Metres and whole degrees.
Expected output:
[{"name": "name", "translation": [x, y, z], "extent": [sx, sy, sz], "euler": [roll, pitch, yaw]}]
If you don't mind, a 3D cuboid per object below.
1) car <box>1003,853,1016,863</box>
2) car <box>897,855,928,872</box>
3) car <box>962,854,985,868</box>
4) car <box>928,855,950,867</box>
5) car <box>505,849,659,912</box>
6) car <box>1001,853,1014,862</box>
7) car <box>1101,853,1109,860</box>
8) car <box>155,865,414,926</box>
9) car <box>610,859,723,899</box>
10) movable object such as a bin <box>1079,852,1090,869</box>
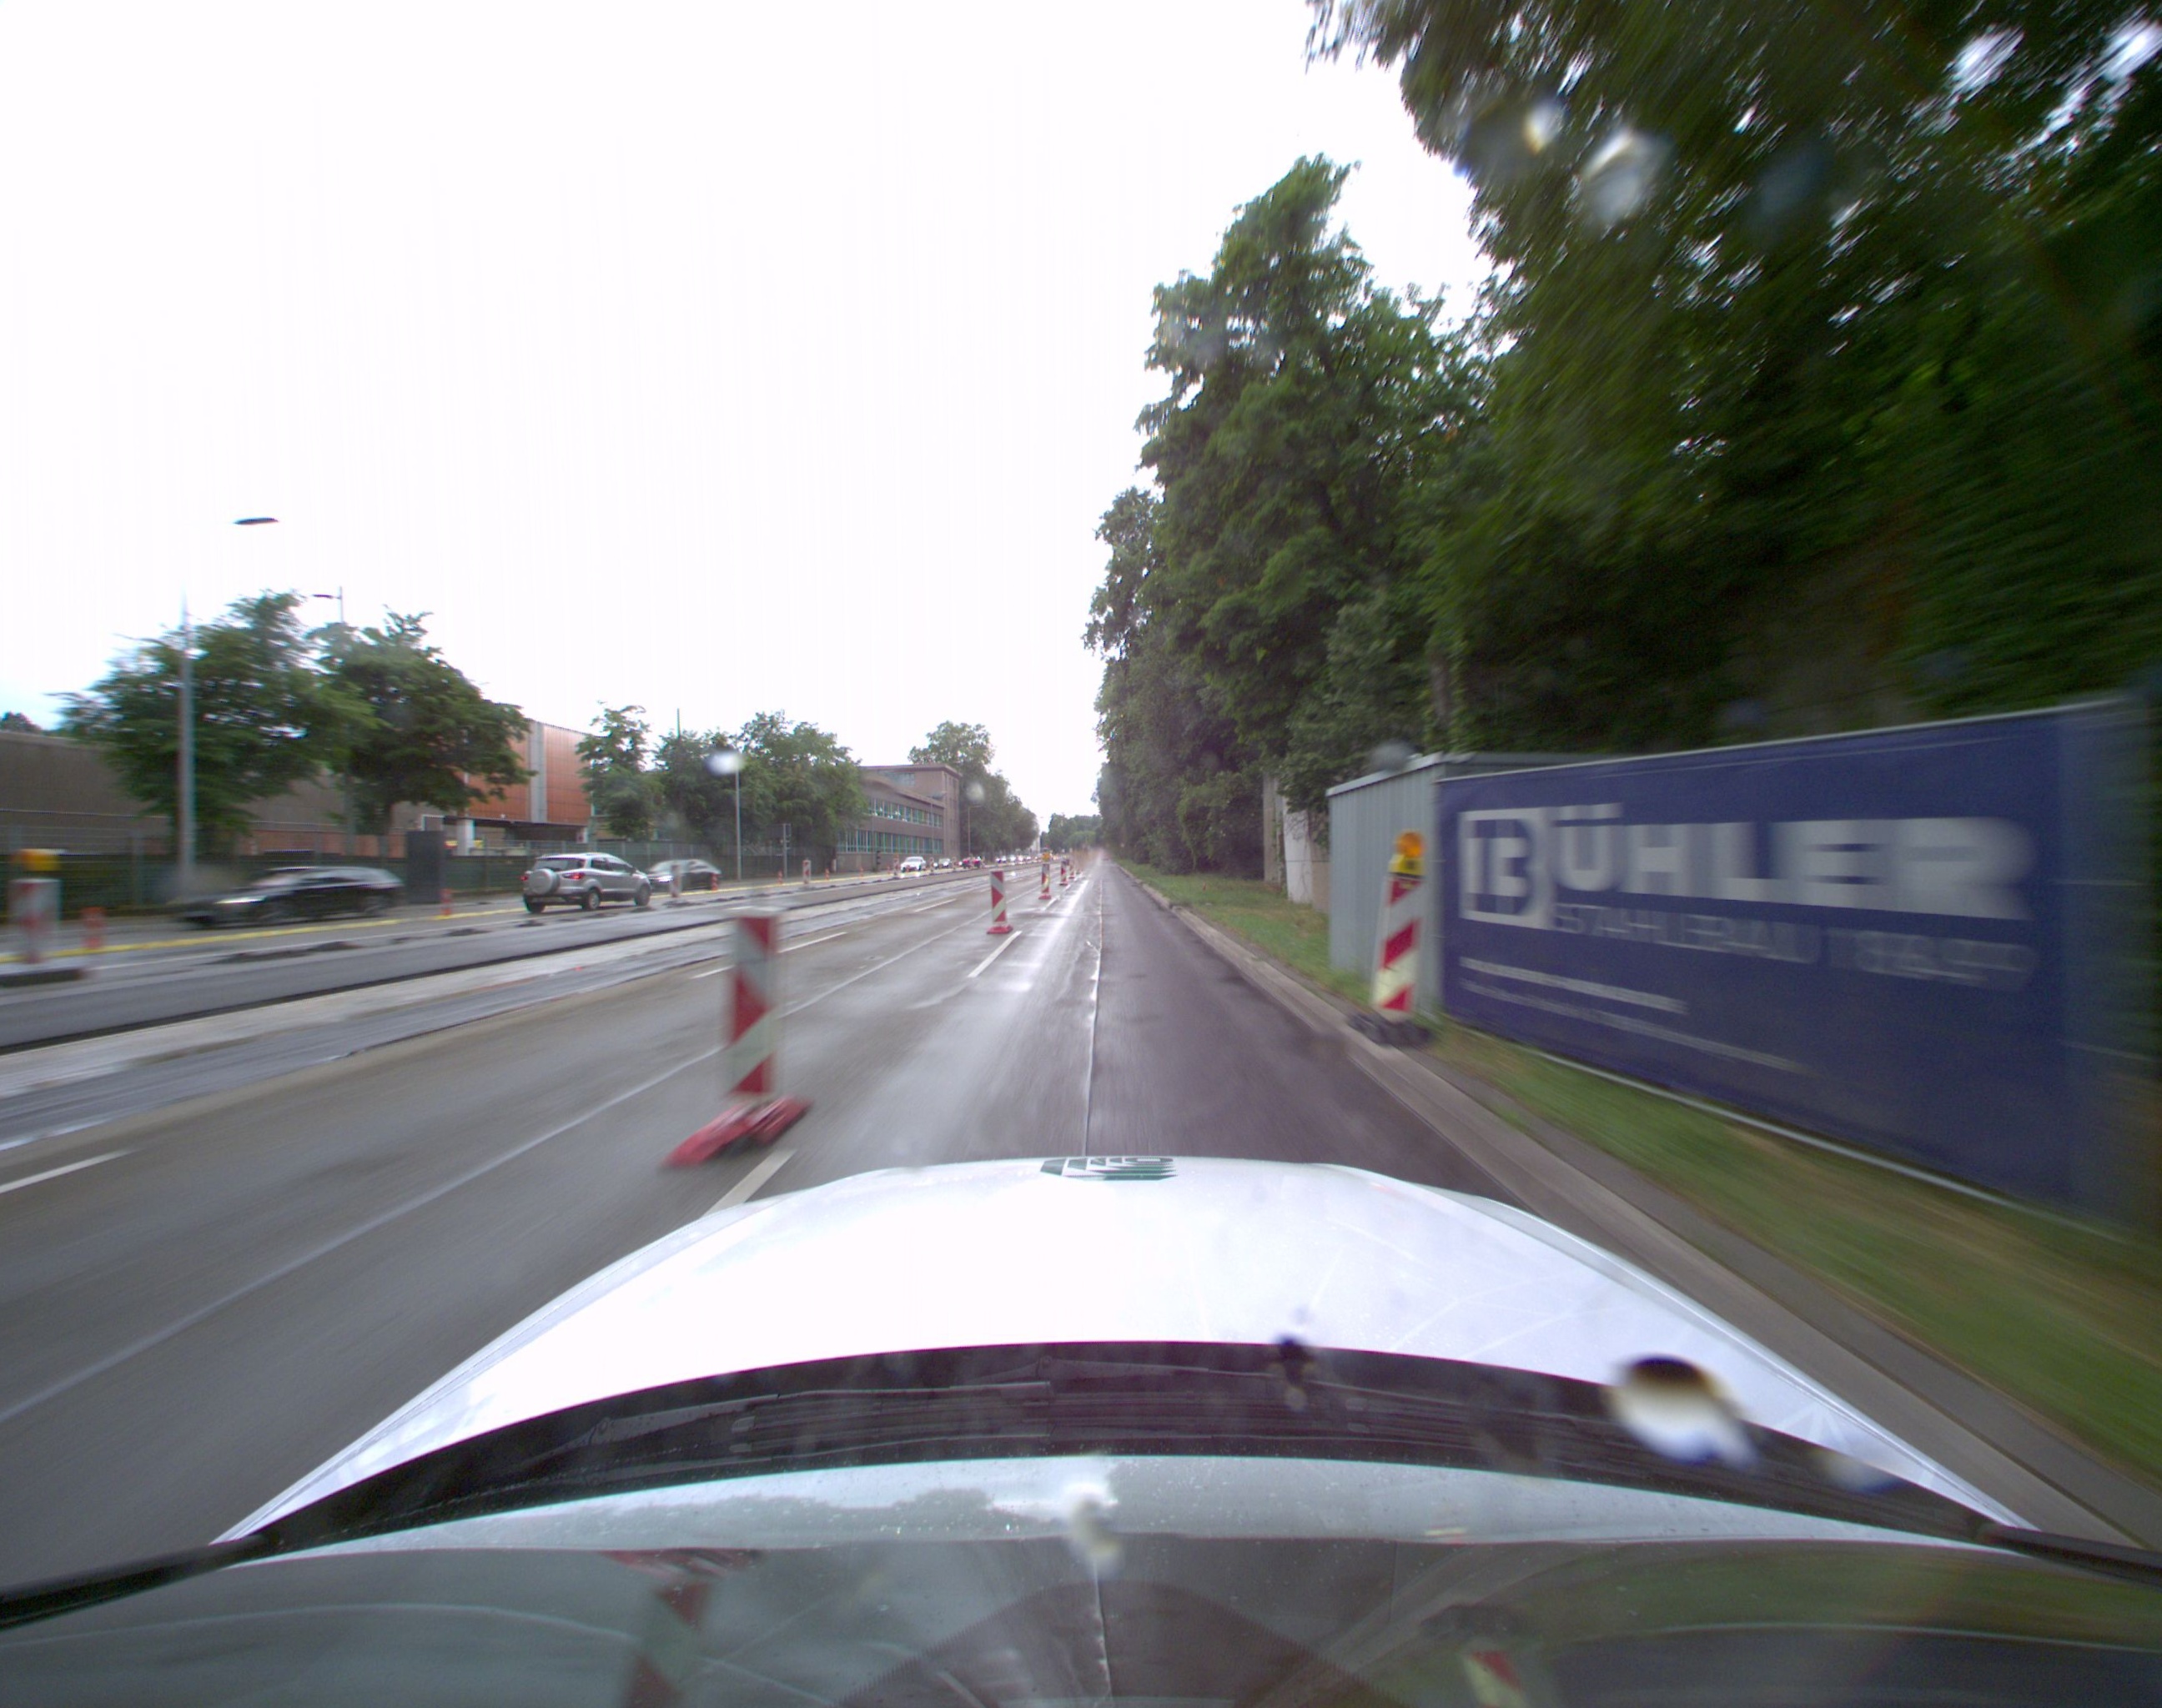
[{"name": "car", "translation": [-13.989, 0.783, 159.546], "extent": [1.980, 1.768, 4.678], "euler": [0, -1, 3]}, {"name": "car", "translation": [-16.361, 0.916, 79.382], "extent": [1.986, 1.513, 4.267], "euler": [-1, 0, 2]}, {"name": "car", "translation": [-12.338, 0.808, 93.408], "extent": [1.986, 1.519, 4.001], "euler": [0, -1, 1]}, {"name": "car", "translation": [-18.021, 0.904, 103.166], "extent": [1.987, 1.429, 4.265], "euler": [-1, 0, 0]}, {"name": "car", "translation": [-14.064, 0.709, 23.272], "extent": [1.848, 1.648, 4.001], "euler": [0, -1, 1]}, {"name": "car", "translation": [-13.062, 0.640, 144.419], "extent": [1.797, 1.534, 3.993], "euler": [0, -1, 1]}, {"name": "car", "translation": [5.916, 0.667, 197.744], "extent": [1.986, 1.673, 4.001], "euler": [0, -1, 2]}, {"name": "car", "translation": [-20.109, 0.990, 20.915], "extent": [1.985, 1.348, 4.570], "euler": [0, 0, 3]}, {"name": "car", "translation": [-17.493, 0.996, 34.697], "extent": [2.070, 1.513, 5.091], "euler": [0, 0, 2]}, {"name": "movable object such as a bin", "translation": [0.632, 1.264, 161.734], "extent": [1.986, 3.367, 5.984], "euler": [0, -1, 2]}]
